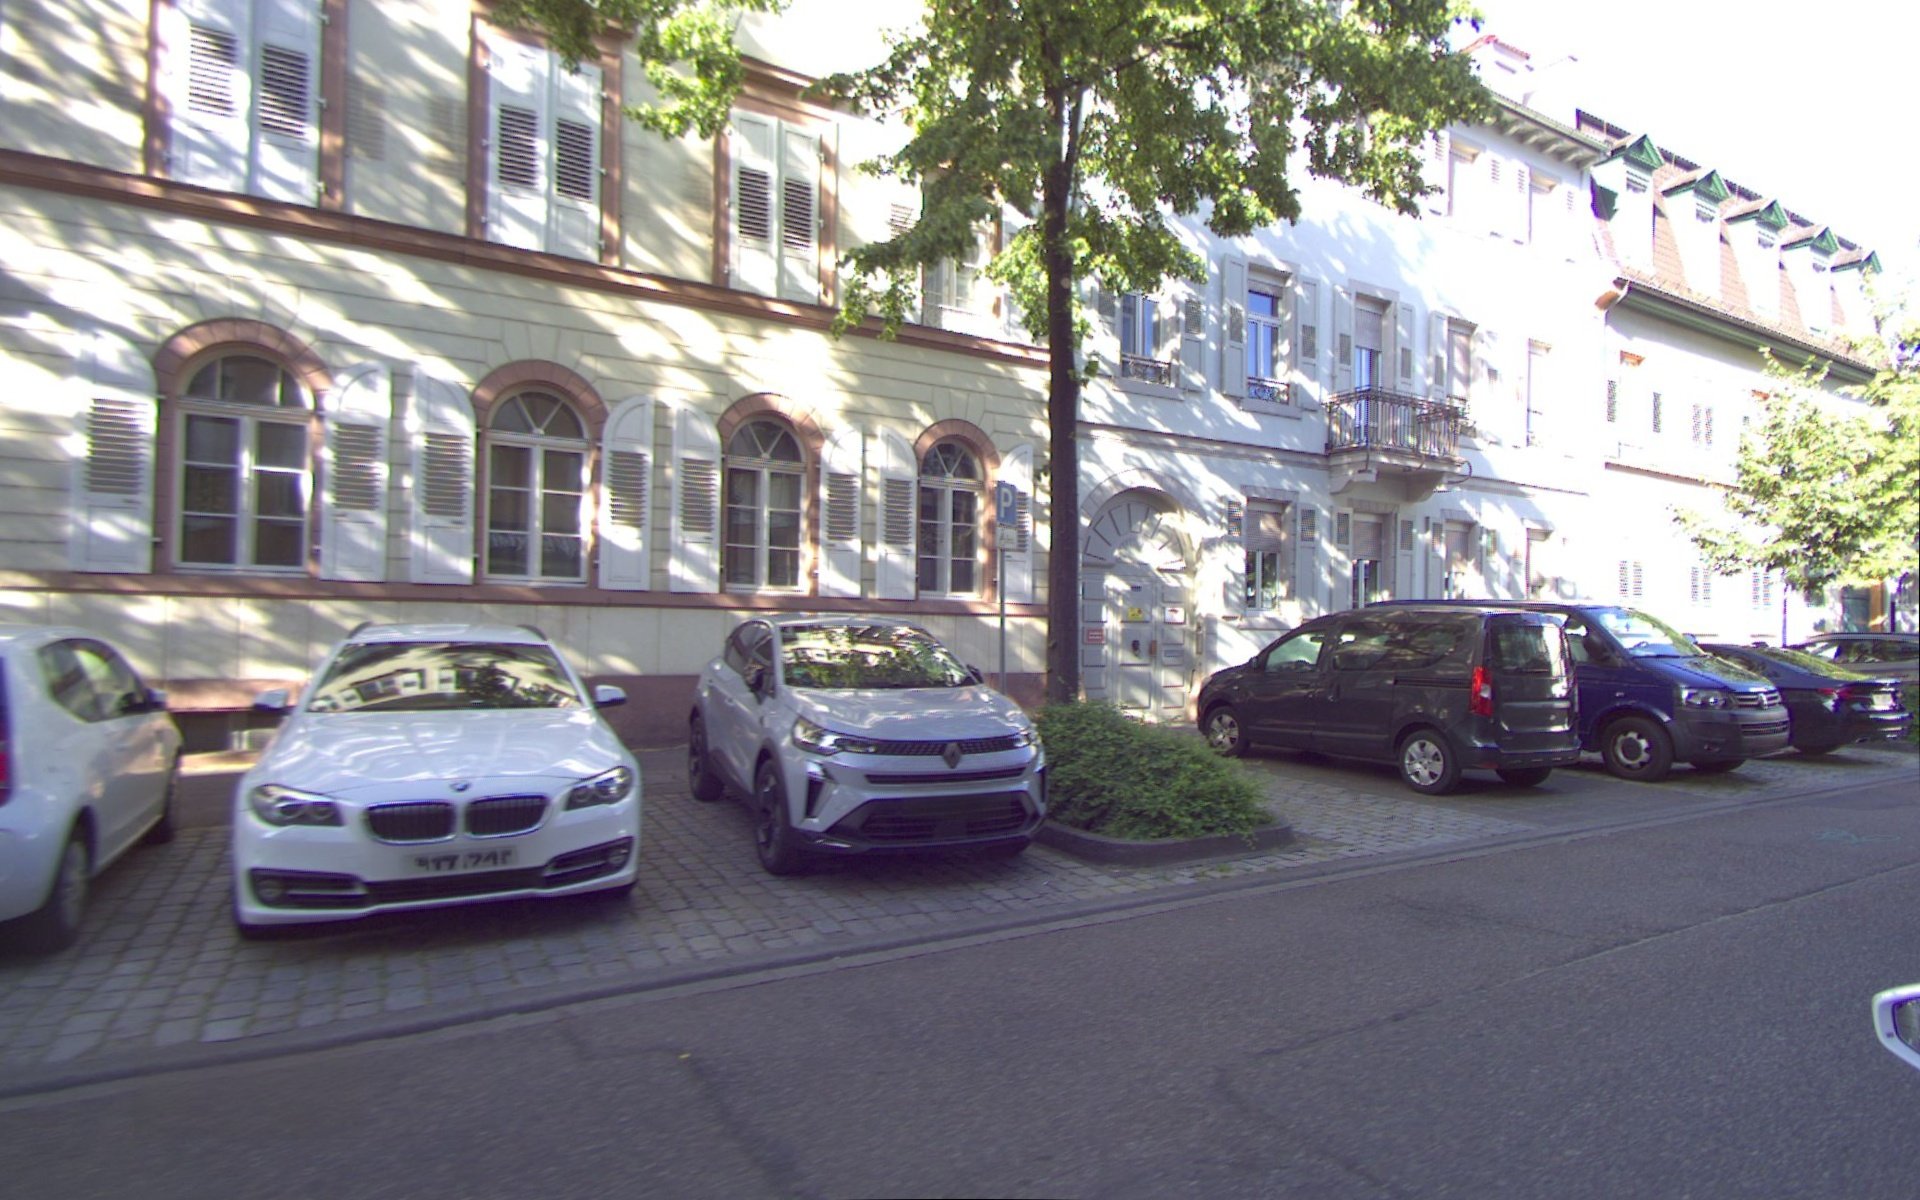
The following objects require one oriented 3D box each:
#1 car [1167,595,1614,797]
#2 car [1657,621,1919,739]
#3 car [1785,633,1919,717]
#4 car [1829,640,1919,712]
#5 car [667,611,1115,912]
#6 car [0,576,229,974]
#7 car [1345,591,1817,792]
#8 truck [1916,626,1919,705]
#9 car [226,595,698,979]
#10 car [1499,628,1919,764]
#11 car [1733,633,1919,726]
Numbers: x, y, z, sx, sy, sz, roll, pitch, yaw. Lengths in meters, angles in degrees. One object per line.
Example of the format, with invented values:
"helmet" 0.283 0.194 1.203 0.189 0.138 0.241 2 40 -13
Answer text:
"car" 4.522 0.897 11.339 1.893 1.795 4.448 2 -1 -28
"car" 14.703 1.273 16.860 1.785 1.735 4.662 2 -1 -28
"car" 19.525 1.506 19.851 1.785 1.593 4.662 2 -1 -28
"car" 21.488 1.660 21.030 1.785 1.482 4.662 2 -1 -28
"car" -0.882 0.893 7.684 1.891 1.561 4.452 2 -1 -26
"car" -5.513 0.698 5.590 1.787 1.603 4.320 2 -1 -29
"car" 7.293 0.946 12.408 1.893 1.976 4.662 2 -1 -28
"truck" 25.847 1.583 23.251 1.976 1.963 5.061 2 -2 -30
"car" -3.261 0.804 6.516 1.894 1.561 4.445 2 -1 -30
"car" 10.211 1.182 13.969 1.663 1.478 4.625 2 -1 -29
"car" 17.084 1.422 18.132 1.785 1.539 4.662 2 -1 -28
